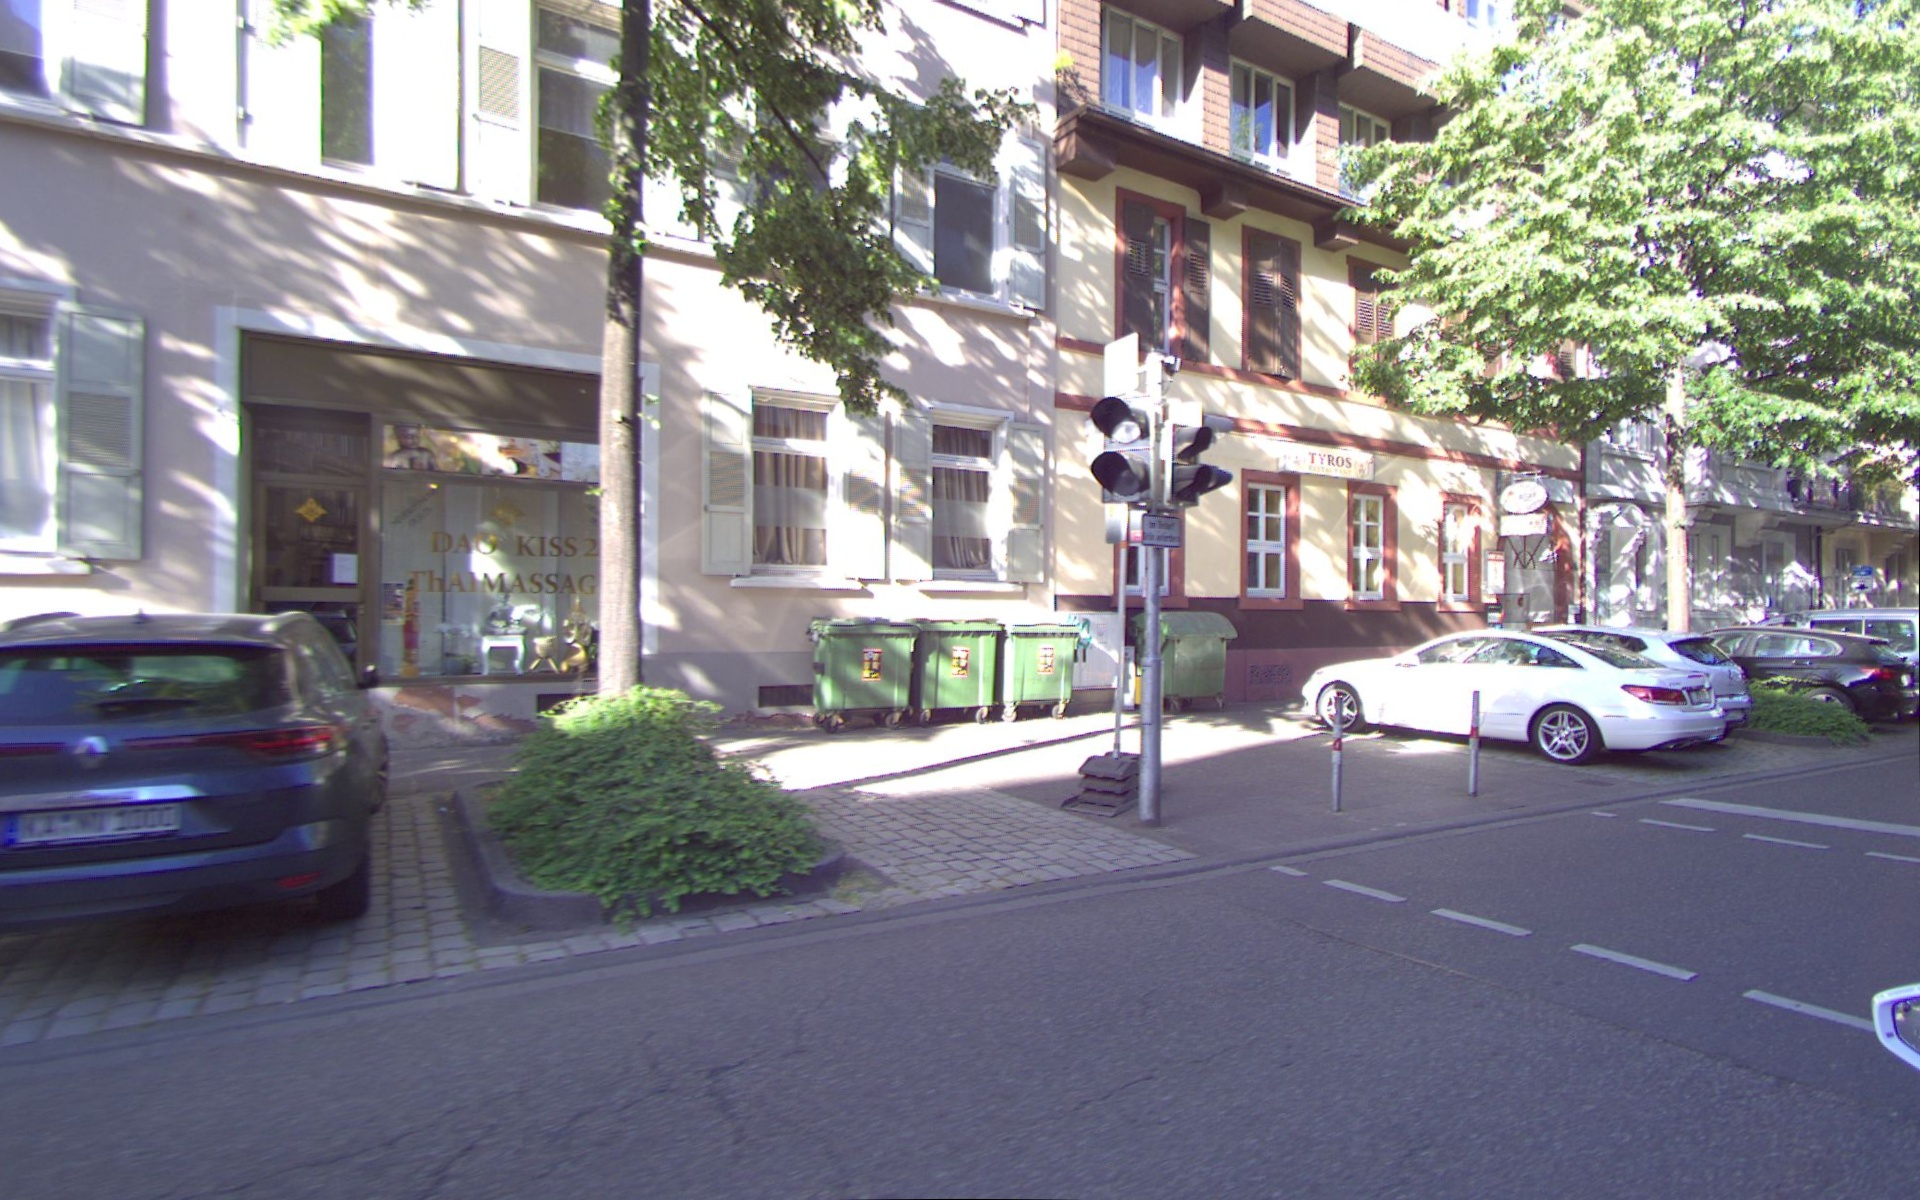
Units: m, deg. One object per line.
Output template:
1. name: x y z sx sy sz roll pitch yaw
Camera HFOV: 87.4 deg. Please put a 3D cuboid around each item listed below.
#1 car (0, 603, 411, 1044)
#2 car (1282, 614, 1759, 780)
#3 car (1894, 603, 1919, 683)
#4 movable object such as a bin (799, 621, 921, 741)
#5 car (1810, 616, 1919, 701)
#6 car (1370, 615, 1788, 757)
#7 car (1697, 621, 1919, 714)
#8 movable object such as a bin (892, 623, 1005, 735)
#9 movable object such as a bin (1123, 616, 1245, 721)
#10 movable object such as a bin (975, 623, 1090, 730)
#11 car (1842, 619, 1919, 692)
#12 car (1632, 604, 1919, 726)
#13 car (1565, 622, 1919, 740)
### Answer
1. car: -4.192 0.814 5.604 1.920 1.565 4.321 1 -1 -28
2. car: 6.502 0.996 12.221 1.980 1.512 4.668 2 -1 -35
3. car: 25.129 1.057 23.433 1.906 1.952 4.555 1 -1 -28
4. movable object such as a bin: -1.240 0.963 12.395 1.245 1.385 0.905 1 -1 -28
5. car: 20.824 1.224 21.003 1.895 1.756 4.315 1 -1 -32
6. car: 8.348 1.026 14.102 1.974 1.512 4.683 0 1 -26
7. car: 16.767 1.209 18.890 1.891 1.565 4.325 1 -1 -26
8. movable object such as a bin: -0.154 0.991 13.046 1.232 1.373 0.826 1 -1 -28
9. movable object such as a bin: 3.335 0.988 15.003 1.364 1.464 1.129 1 -1 -28
10. movable object such as a bin: 0.988 1.008 13.687 1.328 1.380 0.814 1 -1 -28
11. car: 22.777 1.263 22.407 1.895 1.616 4.315 1 -1 -32
12. car: 14.549 1.020 17.550 1.906 1.848 4.321 1 -1 -28
13. car: 12.342 1.155 15.988 1.950 1.565 4.300 1 -1 -42
